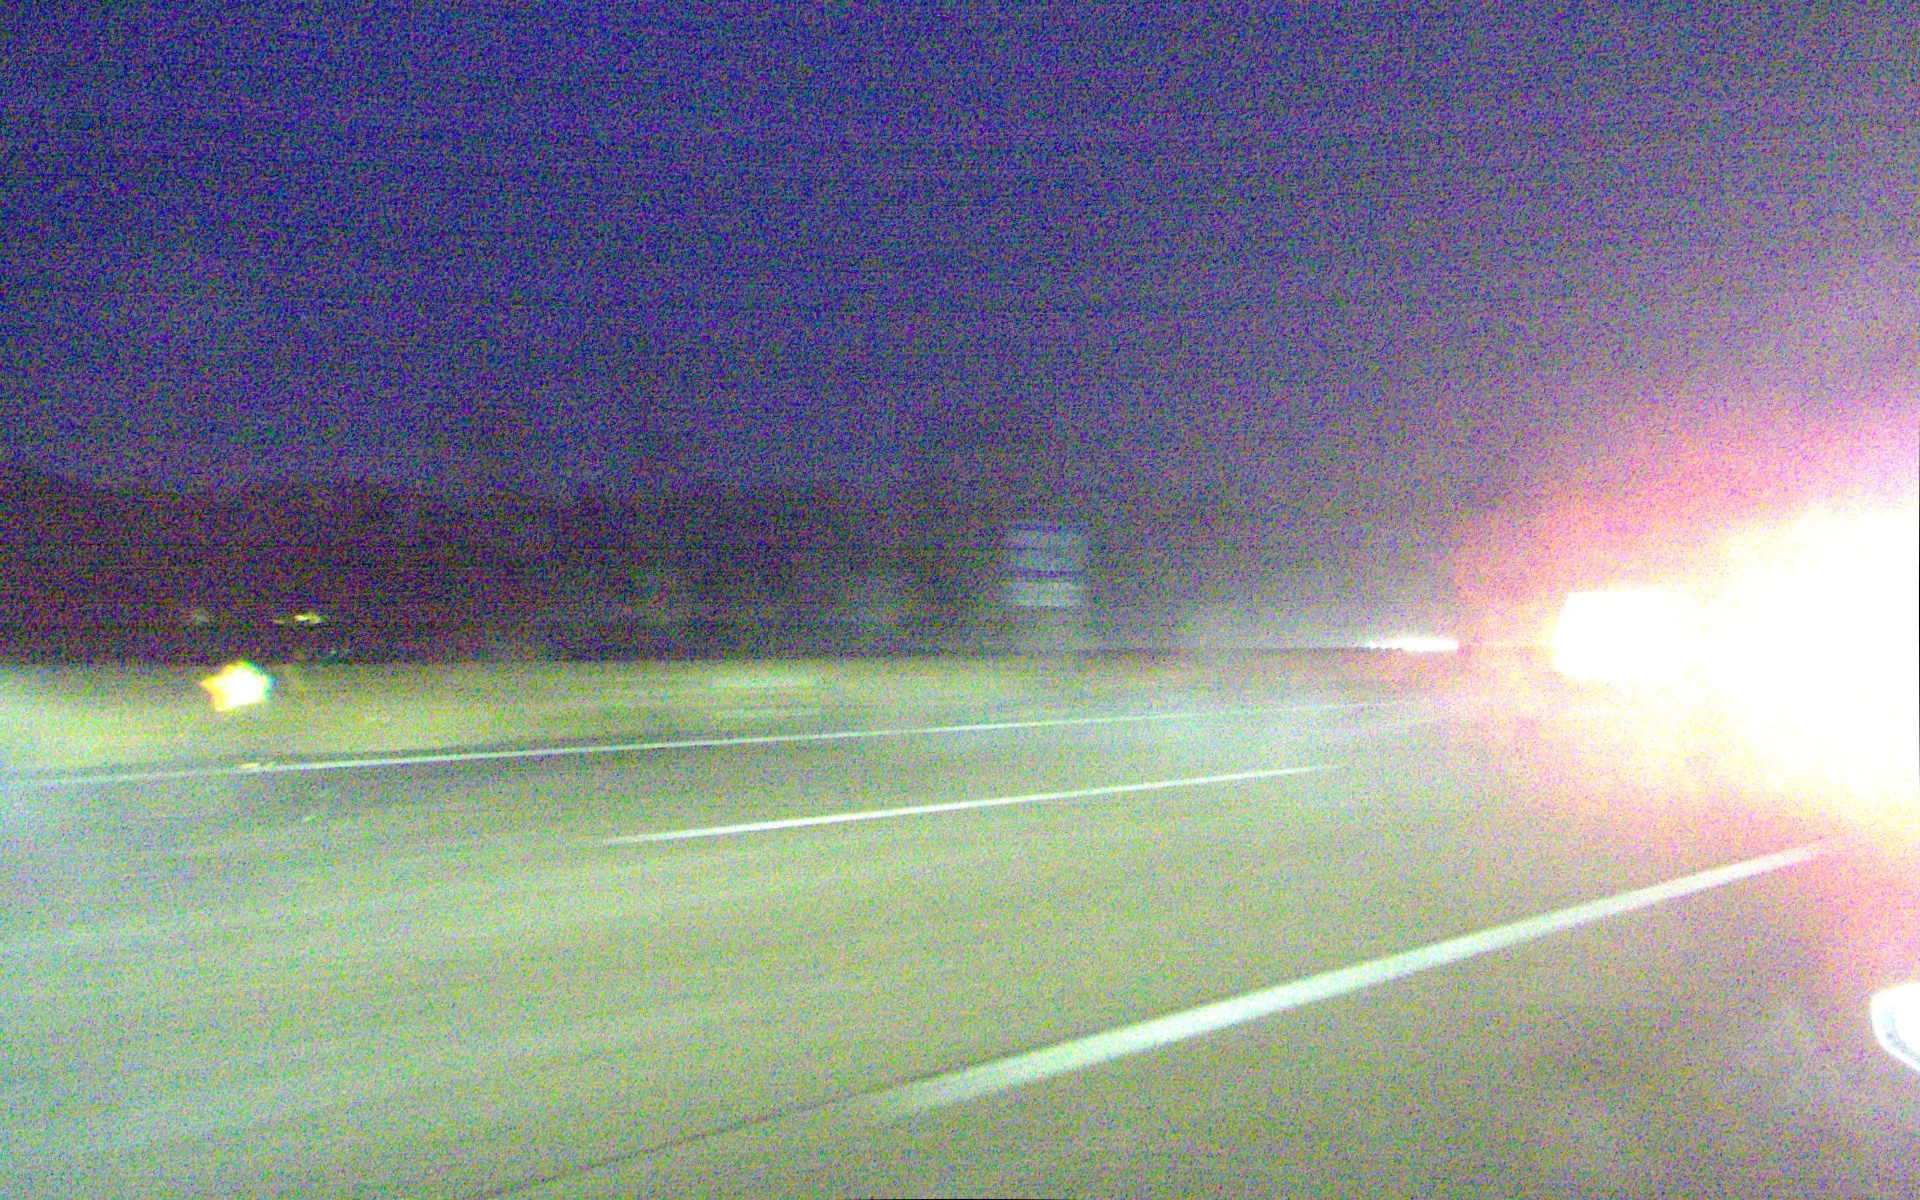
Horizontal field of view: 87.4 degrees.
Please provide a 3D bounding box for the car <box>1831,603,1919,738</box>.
[{"bbox_3d":[13.850,0.919,13.891,3.958,1.712,1.755,1,0,-34],"label":"car"}]

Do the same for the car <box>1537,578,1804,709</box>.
[{"bbox_3d":[13.319,0.750,18.710,5.567,2.132,2.111,1,0,-33],"label":"car"}]
